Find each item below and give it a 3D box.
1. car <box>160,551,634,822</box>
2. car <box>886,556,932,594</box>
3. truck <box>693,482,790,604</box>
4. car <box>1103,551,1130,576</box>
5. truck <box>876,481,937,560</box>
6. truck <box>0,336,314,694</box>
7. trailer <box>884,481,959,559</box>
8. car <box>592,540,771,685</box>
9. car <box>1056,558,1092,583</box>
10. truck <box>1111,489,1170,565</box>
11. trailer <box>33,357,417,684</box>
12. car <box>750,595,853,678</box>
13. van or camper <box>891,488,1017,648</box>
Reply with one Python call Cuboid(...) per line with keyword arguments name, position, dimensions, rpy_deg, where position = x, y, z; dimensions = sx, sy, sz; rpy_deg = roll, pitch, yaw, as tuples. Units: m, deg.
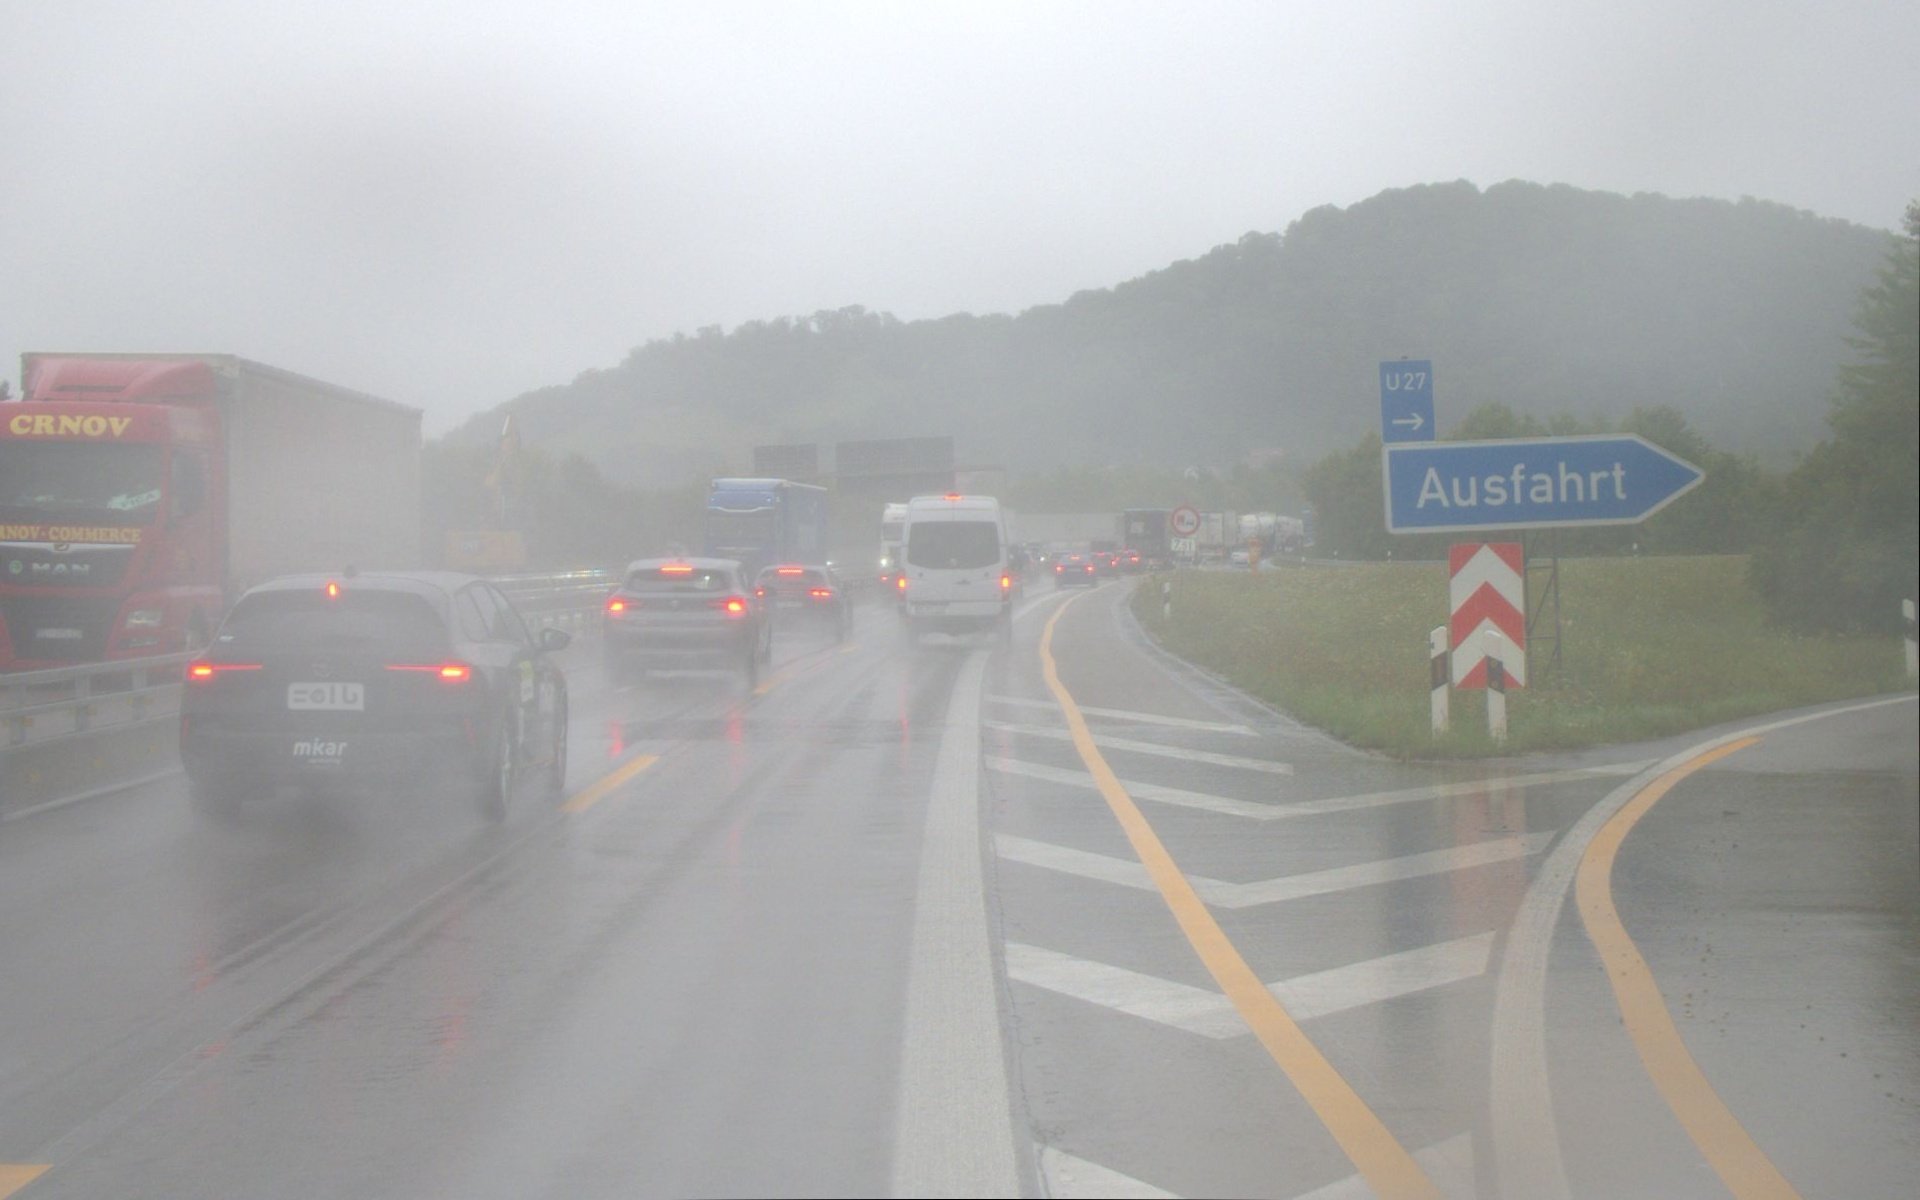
Cuboid(name="car", position=(-3.199, 0.427, 20.521), dimensions=(1.939, 1.422, 4.760), rpy_deg=(0, 1, 1))
Cuboid(name="car", position=(-1.468, -0.745, 99.921), dimensions=(1.262, 1.074, 3.254), rpy_deg=(0, 1, 0))
Cuboid(name="truck", position=(-7.453, -1.961, 117.988), dimensions=(2.624, 4.068, 6.669), rpy_deg=(0, 1, 2))
Cuboid(name="car", position=(8.082, -1.884, 177.920), dimensions=(1.384, 1.252, 3.122), rpy_deg=(0, 1, 2))
Cuboid(name="truck", position=(-2.772, -4.173, 179.915), dimensions=(2.484, 4.017, 6.447), rpy_deg=(0, 2, 6))
Cuboid(name="truck", position=(-10.098, -0.993, 42.691), dimensions=(2.643, 4.034, 7.285), rpy_deg=(1, 0, 1))
Cuboid(name="trailer", position=(-2.048, -4.381, 186.891), dimensions=(2.495, 4.035, 12.585), rpy_deg=(-1, 2, 6))
Cuboid(name="car", position=(-3.311, 0.118, 41.483), dimensions=(1.867, 1.653, 3.988), rpy_deg=(0, 1, -1))
Cuboid(name="car", position=(4.955, -1.286, 149.598), dimensions=(1.384, 1.074, 3.123), rpy_deg=(0, 1, -1))
Cuboid(name="truck", position=(11.797, -4.707, 224.268), dimensions=(3.321, 4.768, 9.905), rpy_deg=(1, 1, 6))
Cuboid(name="trailer", position=(-9.989, -1.038, 48.286), dimensions=(2.612, 3.993, 11.927), rpy_deg=(1, 1, 1))
Cuboid(name="car", position=(-3.023, 0.683, 66.266), dimensions=(1.852, 1.495, 4.000), rpy_deg=(0, 1, -1))
Cuboid(name="van or camper", position=(-0.130, -0.571, 60.987), dimensions=(2.139, 2.712, 4.648), rpy_deg=(0, 1, -1))
